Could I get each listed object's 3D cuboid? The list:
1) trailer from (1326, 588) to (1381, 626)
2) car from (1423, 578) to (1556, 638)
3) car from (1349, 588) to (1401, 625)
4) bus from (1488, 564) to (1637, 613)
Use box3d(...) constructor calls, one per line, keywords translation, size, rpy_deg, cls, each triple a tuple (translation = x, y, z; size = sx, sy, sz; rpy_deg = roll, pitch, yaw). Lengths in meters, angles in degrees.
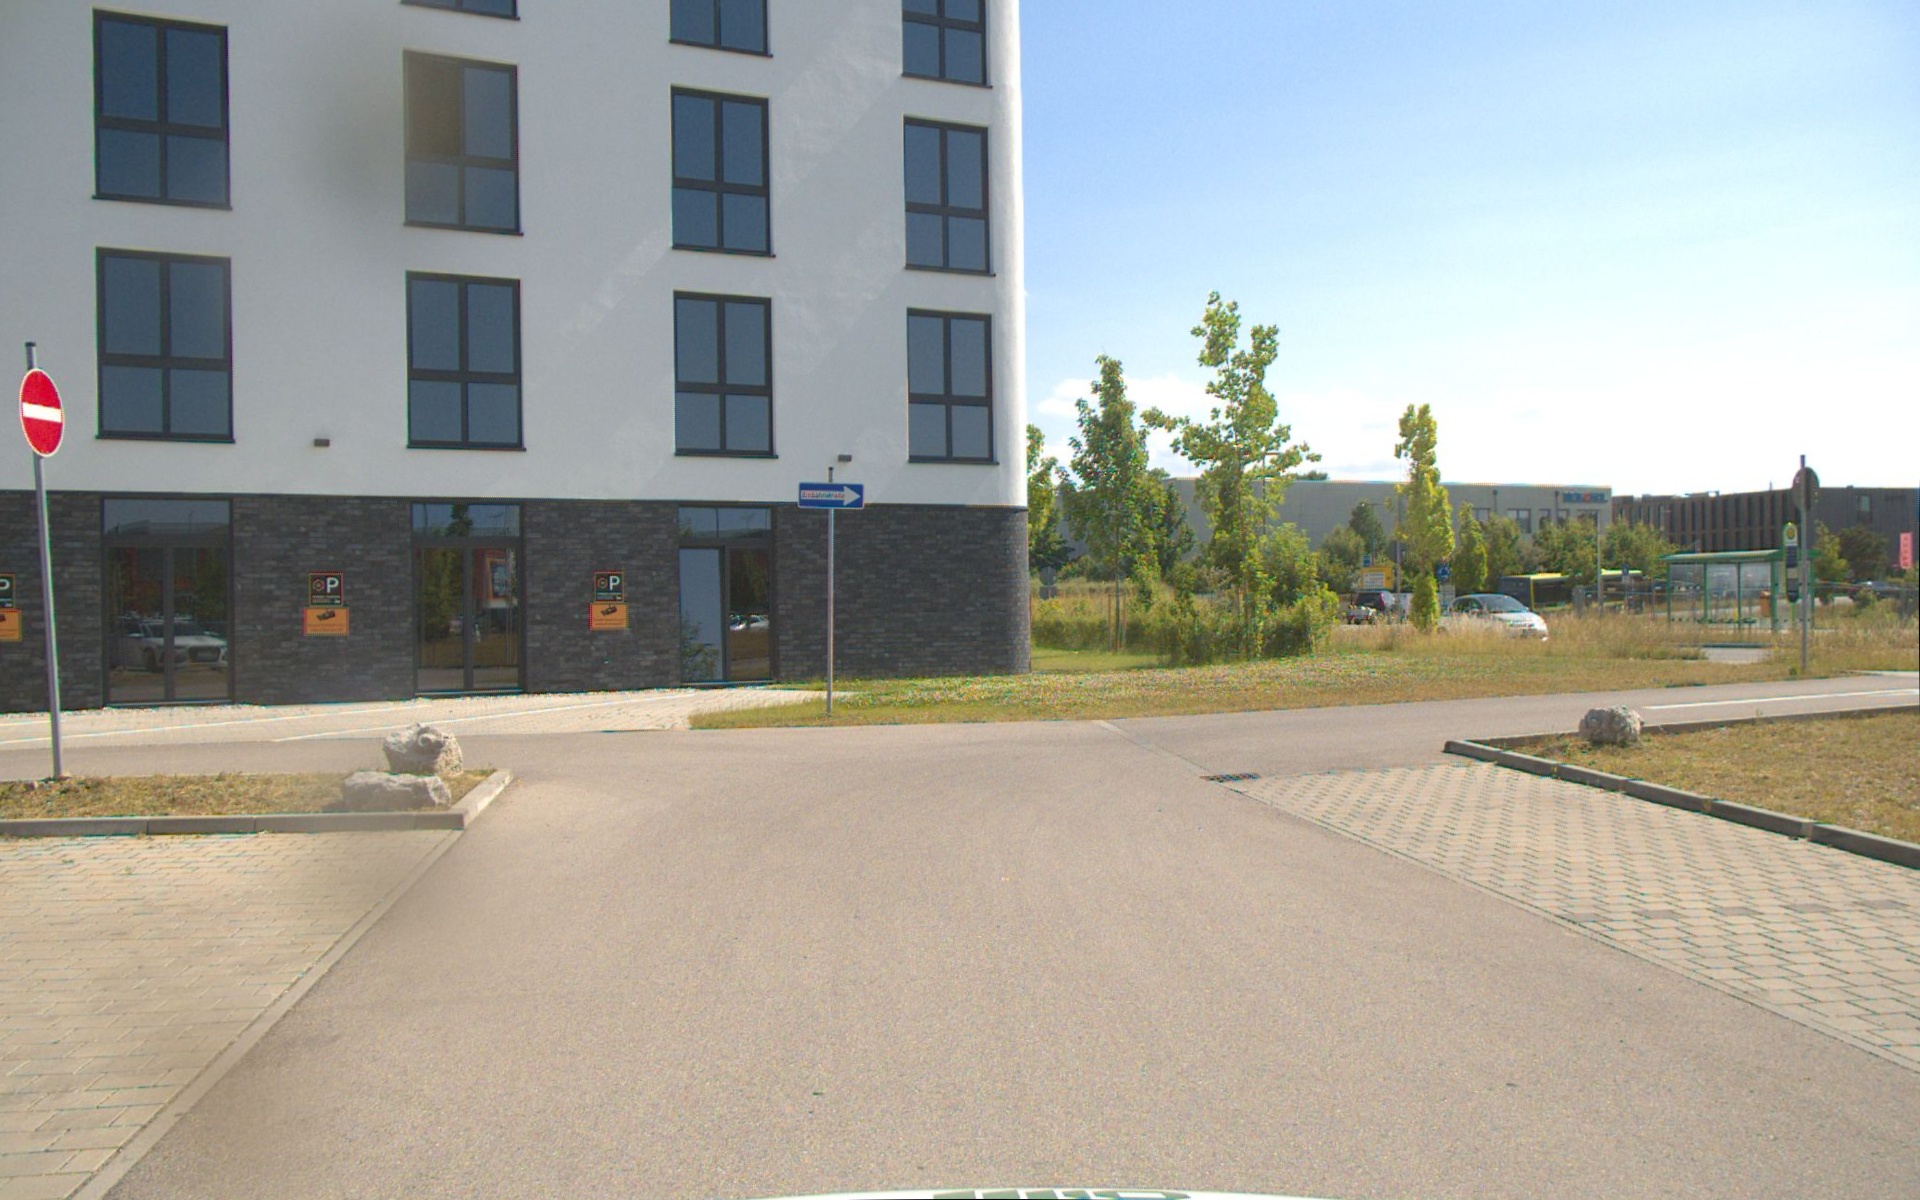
box3d(translation=(20.098, 0.337, 84.343), size=(1.787, 1.892, 3.994), rpy_deg=(0, 0, 28), cls="trailer")
box3d(translation=(14.590, 0.196, 45.786), size=(1.708, 1.578, 3.766), rpy_deg=(0, 0, -17), cls="car")
box3d(translation=(22.055, 0.309, 87.829), size=(1.787, 1.892, 3.994), rpy_deg=(0, 0, 28), cls="car")
box3d(translation=(37.348, -0.744, 102.288), size=(11.434, 2.783, 2.549), rpy_deg=(-1, 1, -35), cls="bus")
